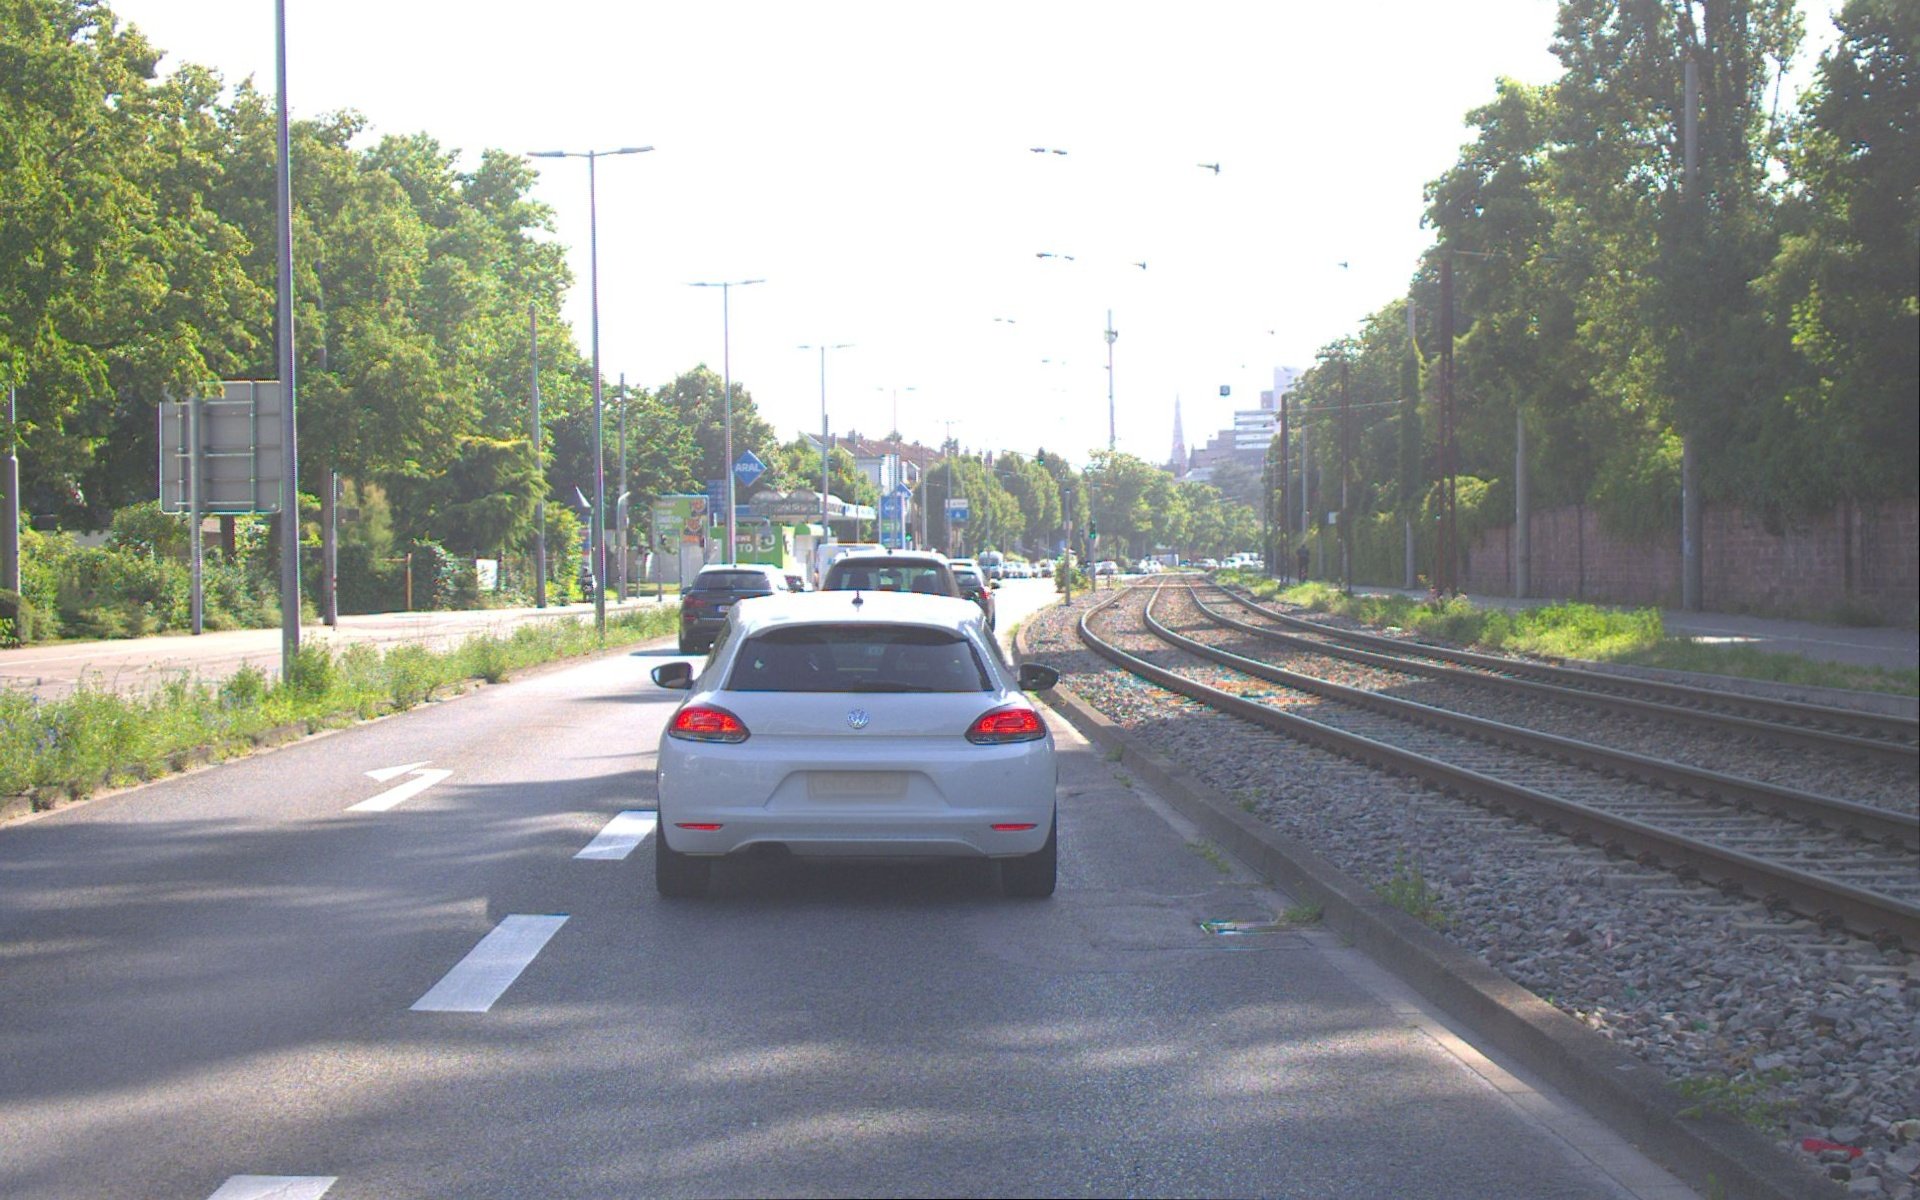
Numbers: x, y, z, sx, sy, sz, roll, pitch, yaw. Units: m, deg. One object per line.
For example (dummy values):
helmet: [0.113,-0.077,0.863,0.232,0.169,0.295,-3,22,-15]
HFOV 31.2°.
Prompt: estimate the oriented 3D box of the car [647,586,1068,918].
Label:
car: [-0.441,0.641,16.485,1.781,1.351,3.601,1,1,0]

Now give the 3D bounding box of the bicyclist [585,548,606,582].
bicyclist: [-15.758,-1.509,148.561,0.662,1.447,1.050,-1,1,7]

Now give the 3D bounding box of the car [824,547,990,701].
car: [-0.562,0.227,37.934,1.724,1.587,3.601,1,1,0]

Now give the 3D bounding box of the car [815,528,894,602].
car: [-2.842,-0.950,93.474,1.818,1.956,4.402,-1,1,2]

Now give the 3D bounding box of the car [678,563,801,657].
car: [-3.661,0.139,57.835,1.760,1.480,4.645,1,1,0]

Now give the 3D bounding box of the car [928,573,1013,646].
car: [0.216,0.190,73.788,1.749,1.480,3.601,1,1,0]
